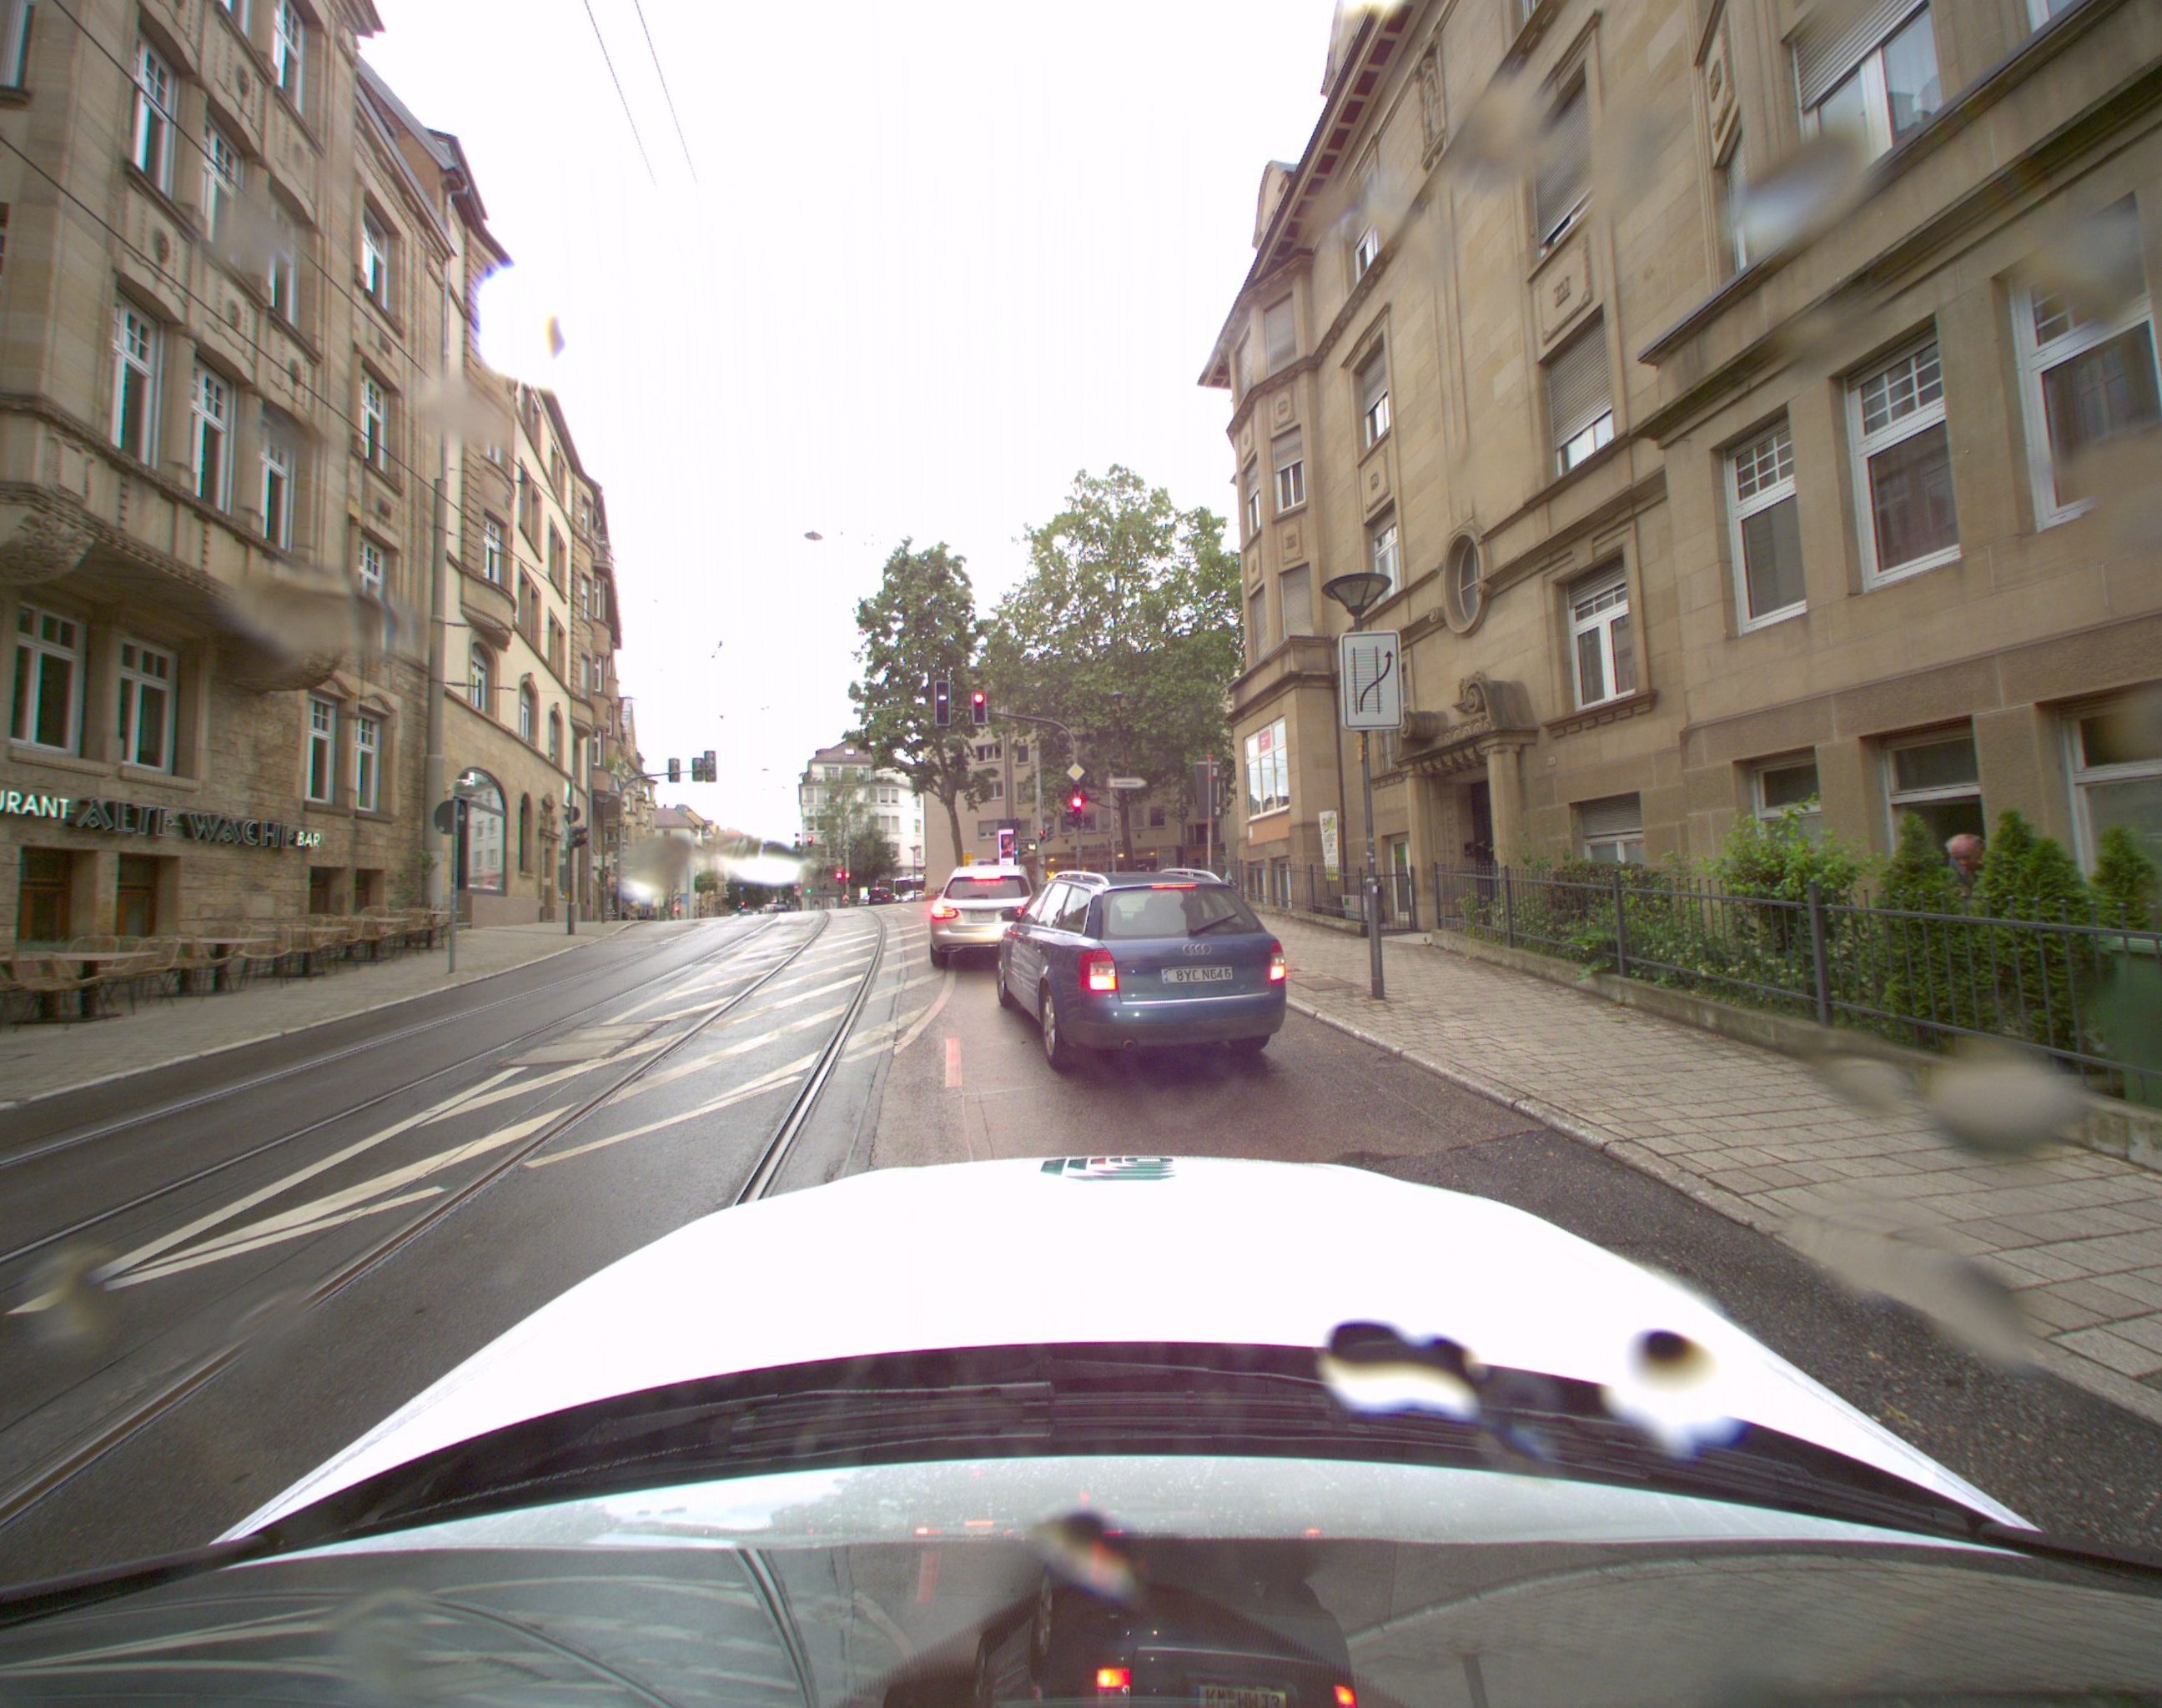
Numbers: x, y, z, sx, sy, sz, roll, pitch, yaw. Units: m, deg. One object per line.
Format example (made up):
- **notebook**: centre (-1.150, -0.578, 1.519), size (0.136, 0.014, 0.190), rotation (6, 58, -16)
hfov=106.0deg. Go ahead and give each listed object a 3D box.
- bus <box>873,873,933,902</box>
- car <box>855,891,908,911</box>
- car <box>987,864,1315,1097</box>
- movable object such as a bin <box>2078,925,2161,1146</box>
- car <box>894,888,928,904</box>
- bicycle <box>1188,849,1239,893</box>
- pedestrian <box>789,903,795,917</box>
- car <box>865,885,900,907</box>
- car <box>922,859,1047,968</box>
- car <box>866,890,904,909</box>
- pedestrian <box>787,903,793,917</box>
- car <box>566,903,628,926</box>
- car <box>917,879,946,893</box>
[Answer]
- **bus**: centre (-20.567, 3.839, 94.910), size (2.832, 2.861, 8.771), rotation (-3, 0, 16)
- **car**: centre (-18.820, 4.429, 76.991), size (1.777, 1.510, 4.695), rotation (-3, 0, 41)
- **car**: centre (0.285, 0.832, 7.353), size (1.713, 1.415, 4.016), rotation (-1, 0, -14)
- **movable object such as a bin**: centre (5.408, 0.880, 3.906), size (0.537, 1.026, 0.602), rotation (2, -2, -10)
- **car**: centre (-18.586, 4.596, 89.127), size (1.779, 1.510, 4.020), rotation (-3, 0, 20)
- **bicycle**: centre (3.869, 0.490, 23.764), size (1.300, 1.173, 0.524), rotation (-4, 0, -11)
- **pedestrian**: centre (-36.353, 7.071, 102.470), size (0.650, 1.661, 0.646), rotation (-1, -1, -18)
- **car**: centre (-16.693, 3.515, 68.547), size (1.788, 1.510, 4.000), rotation (-5, 0, 1)
- **car**: centre (-1.496, 0.832, 13.089), size (1.708, 1.456, 3.546), rotation (-1, 0, -5)
- **car**: centre (-20.102, 4.621, 83.687), size (1.779, 1.614, 4.020), rotation (-3, 0, 20)
- **pedestrian**: centre (-37.499, 7.209, 104.832), size (0.650, 1.661, 0.646), rotation (-1, -1, -18)
- **car**: centre (-38.168, 4.758, 64.344), size (4.008, 1.510, 1.785), rotation (-2, 0, -26)
- **car**: centre (-18.761, 4.036, 102.472), size (1.779, 1.510, 4.020), rotation (-3, 0, 20)
